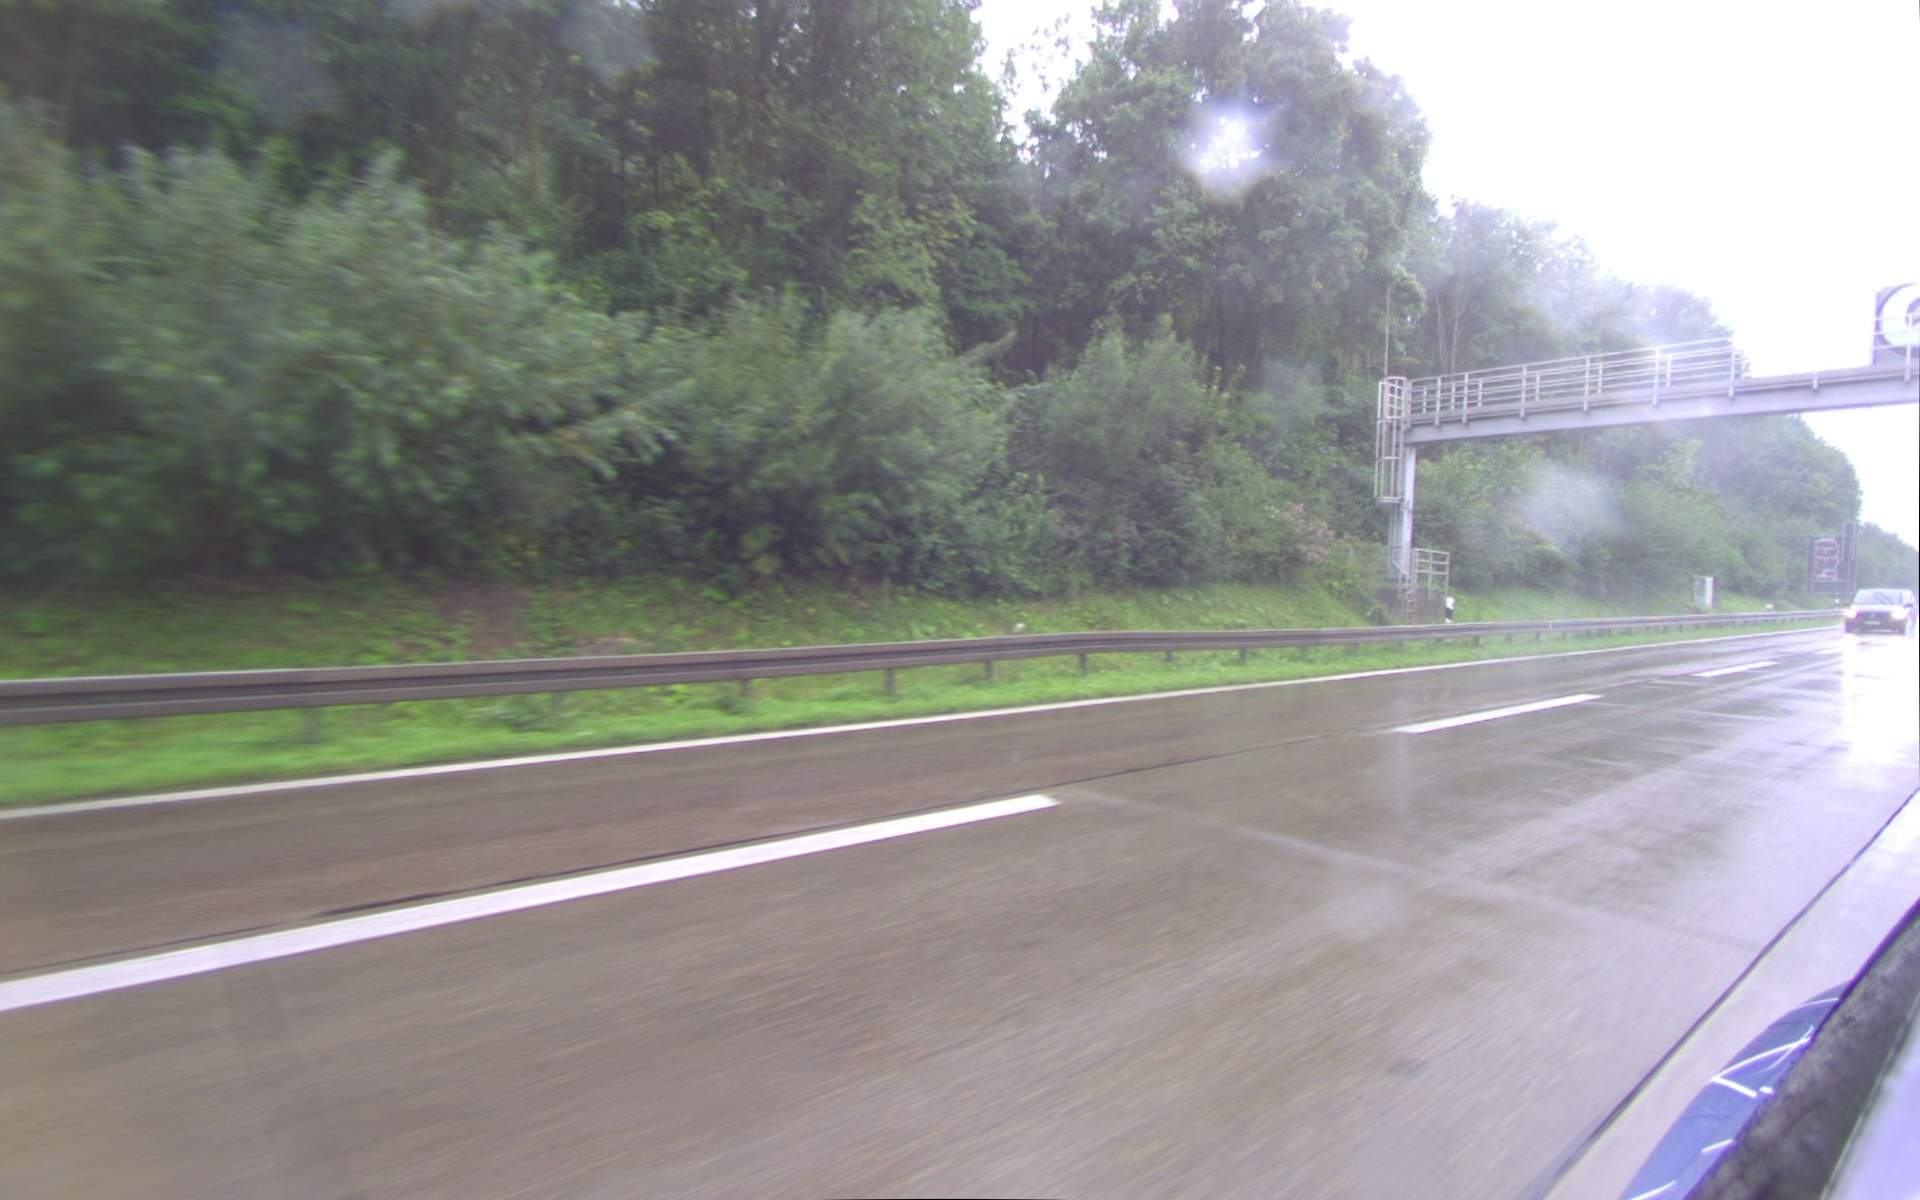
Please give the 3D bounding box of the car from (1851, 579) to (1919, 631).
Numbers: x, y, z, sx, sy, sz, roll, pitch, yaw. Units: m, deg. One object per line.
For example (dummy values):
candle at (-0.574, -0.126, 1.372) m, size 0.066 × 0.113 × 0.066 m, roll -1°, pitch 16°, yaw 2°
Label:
car at (38.925, 0.177, 42.275) m, size 3.927 × 2.039 × 1.859 m, roll 0°, pitch 1°, yaw -38°
